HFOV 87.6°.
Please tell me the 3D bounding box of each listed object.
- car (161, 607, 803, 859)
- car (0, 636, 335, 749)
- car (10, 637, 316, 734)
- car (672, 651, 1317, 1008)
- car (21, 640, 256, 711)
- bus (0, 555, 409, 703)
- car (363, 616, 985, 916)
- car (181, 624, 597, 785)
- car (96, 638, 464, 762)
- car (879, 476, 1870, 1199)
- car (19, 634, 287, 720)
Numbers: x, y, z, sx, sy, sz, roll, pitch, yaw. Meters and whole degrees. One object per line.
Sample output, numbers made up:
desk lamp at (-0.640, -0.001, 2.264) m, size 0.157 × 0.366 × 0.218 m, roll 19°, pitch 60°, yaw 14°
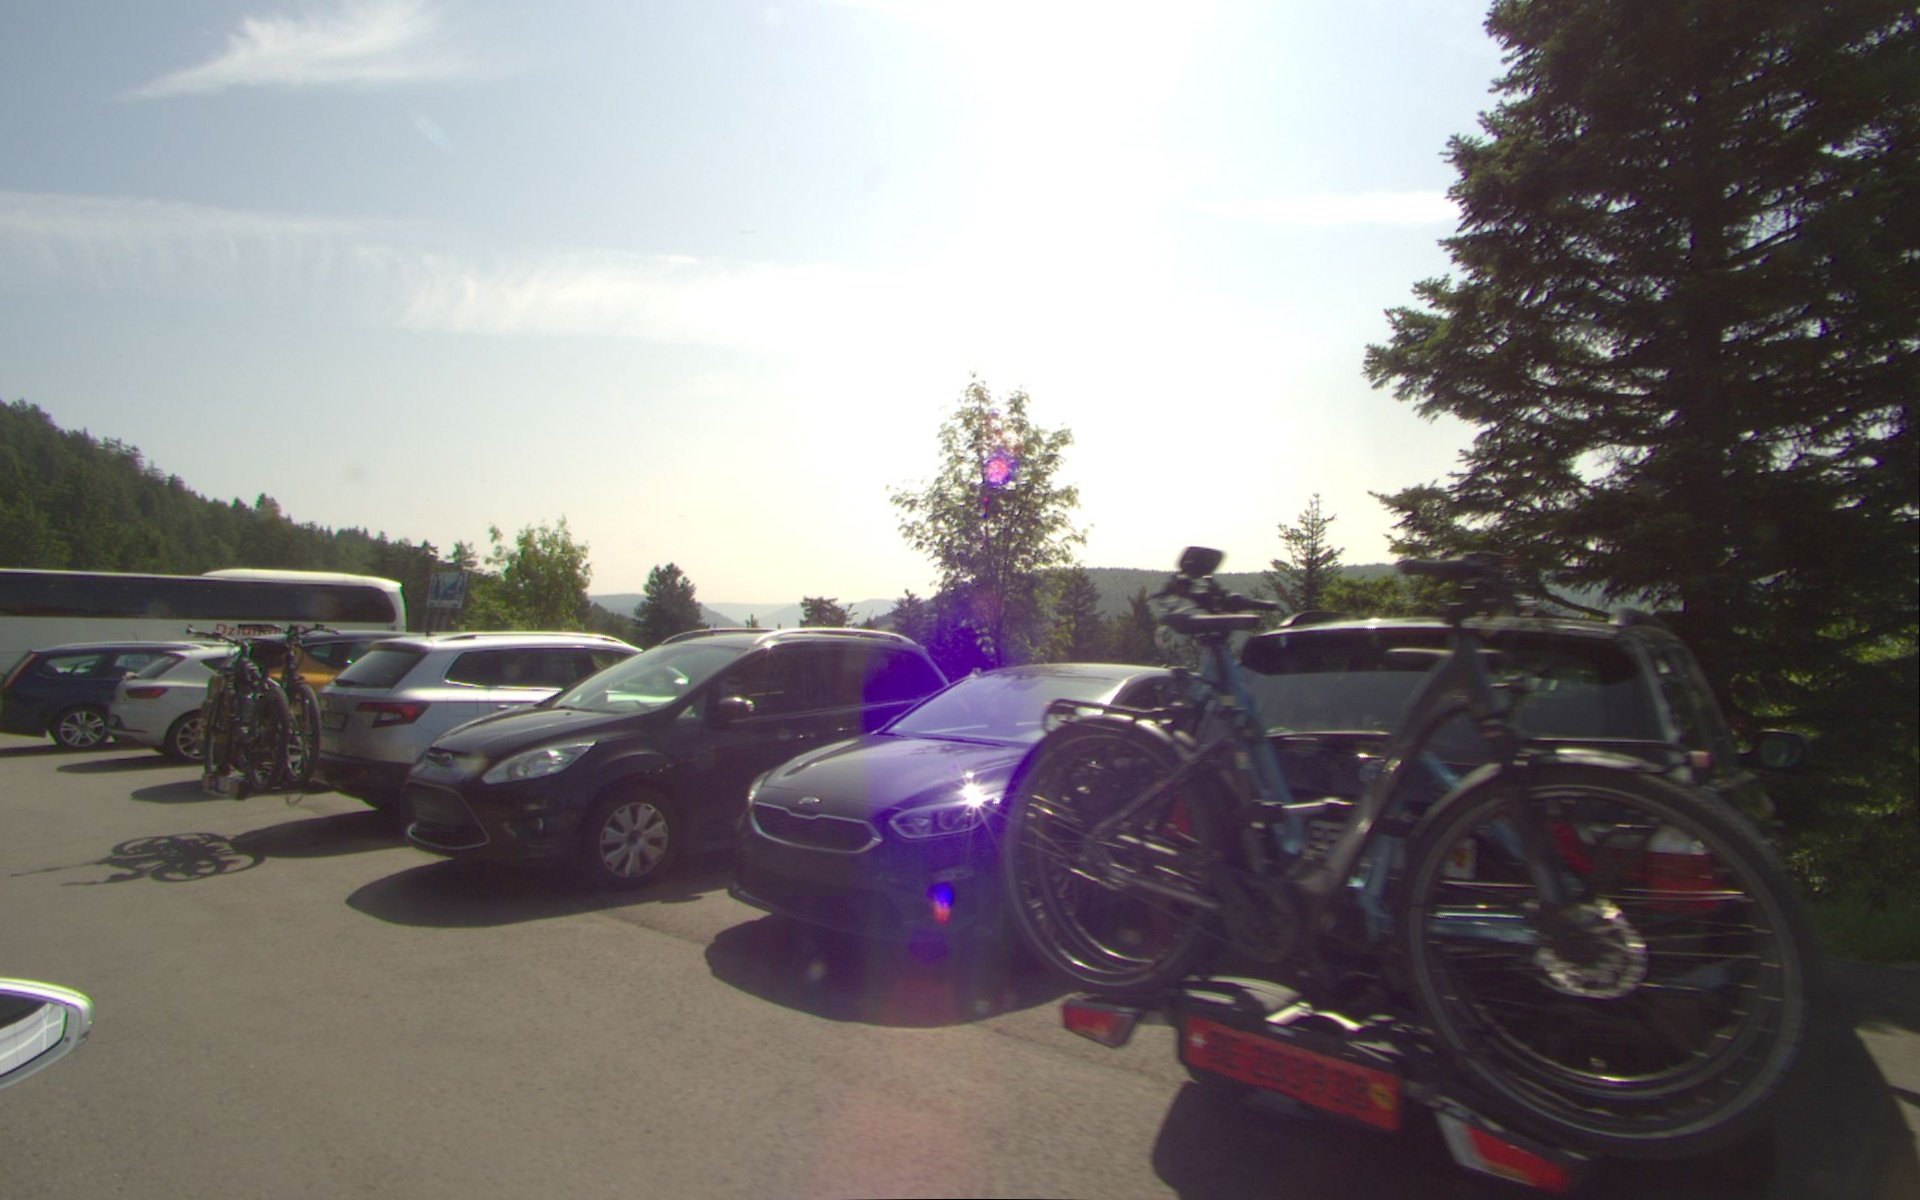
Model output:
car at (-3.998, 0.956, 9.265) m, size 2.023 × 1.672 × 5.014 m, roll -1°, pitch -2°, yaw 39°
car at (-12.200, 1.308, 15.467) m, size 1.838 × 1.467 × 3.971 m, roll -1°, pitch -2°, yaw 39°
car at (-14.027, 1.415, 17.809) m, size 1.838 × 1.467 × 3.971 m, roll -1°, pitch -2°, yaw 39°
car at (0.556, 1.012, 6.151) m, size 1.816 × 1.285 × 4.227 m, roll -1°, pitch -2°, yaw 39°
car at (-19.117, 1.693, 23.441) m, size 1.838 × 1.467 × 3.971 m, roll -1°, pitch -2°, yaw 39°
bus at (-22.449, 0.777, 26.998) m, size 12.997 × 3.578 × 3.017 m, roll 1°, pitch -2°, yaw -41°
car at (-1.801, 0.931, 7.482) m, size 1.816 × 1.574 × 4.227 m, roll -1°, pitch -2°, yaw 39°
car at (-6.530, 1.075, 11.831) m, size 1.639 × 1.574 × 3.971 m, roll -1°, pitch -2°, yaw 39°
car at (-9.278, 1.264, 13.943) m, size 1.600 × 1.416 × 3.971 m, roll -1°, pitch -2°, yaw 39°
car at (2.114, 0.779, 3.861) m, size 1.923 × 1.717 × 4.927 m, roll -1°, pitch -2°, yaw 41°
car at (-16.269, 1.480, 20.346) m, size 1.838 × 1.526 × 3.971 m, roll -1°, pitch -2°, yaw 39°
